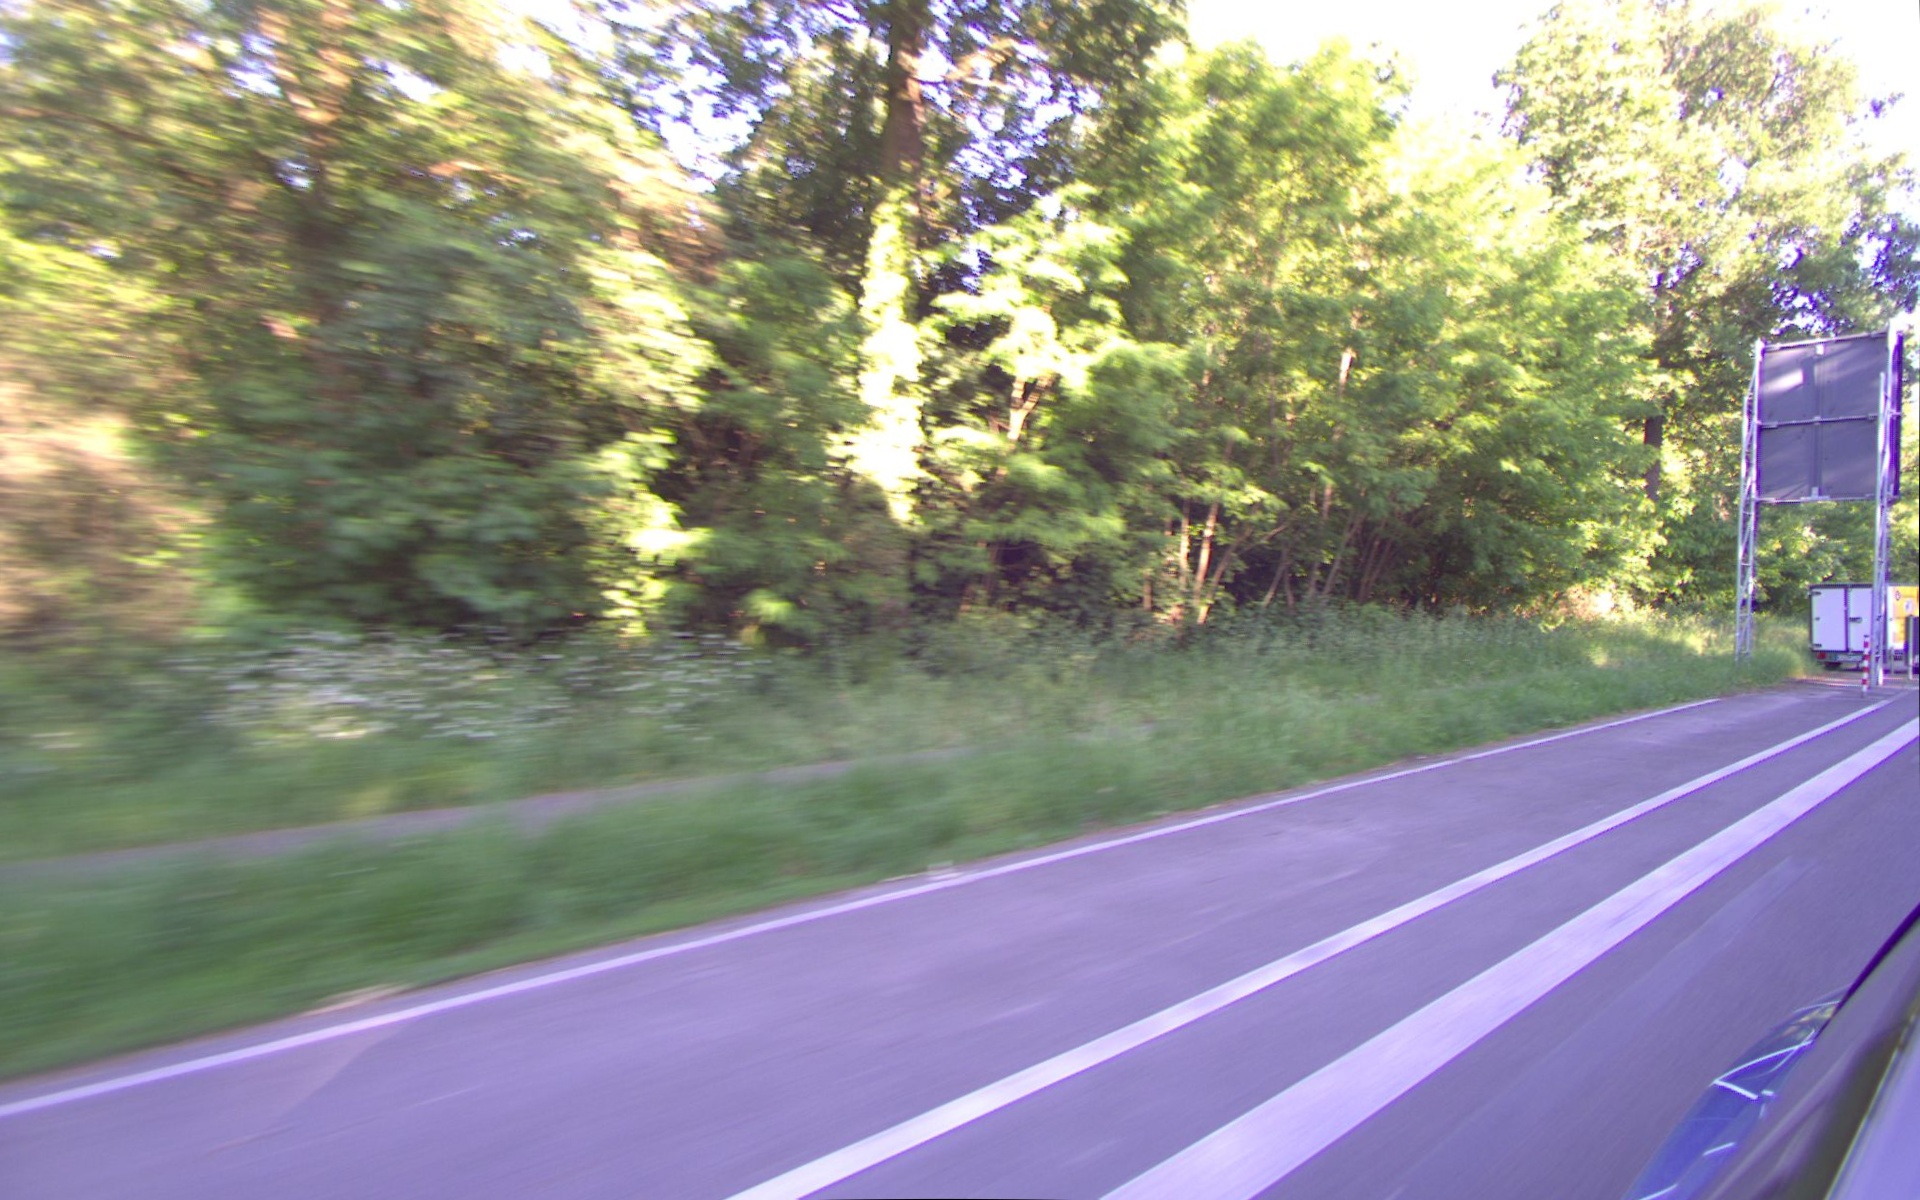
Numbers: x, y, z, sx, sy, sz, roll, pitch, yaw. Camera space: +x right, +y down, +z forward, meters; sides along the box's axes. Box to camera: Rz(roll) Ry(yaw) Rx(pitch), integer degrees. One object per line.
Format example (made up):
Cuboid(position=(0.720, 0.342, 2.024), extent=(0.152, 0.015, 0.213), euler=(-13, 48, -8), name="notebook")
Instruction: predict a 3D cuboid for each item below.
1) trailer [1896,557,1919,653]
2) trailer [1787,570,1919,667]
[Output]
Cuboid(position=(26.954, 0.111, 27.670), extent=(3.930, 2.540, 1.616), euler=(-1, 0, -41), name="trailer")
Cuboid(position=(21.118, 0.388, 22.996), extent=(3.763, 2.048, 1.973), euler=(1, 1, -21), name="trailer")
